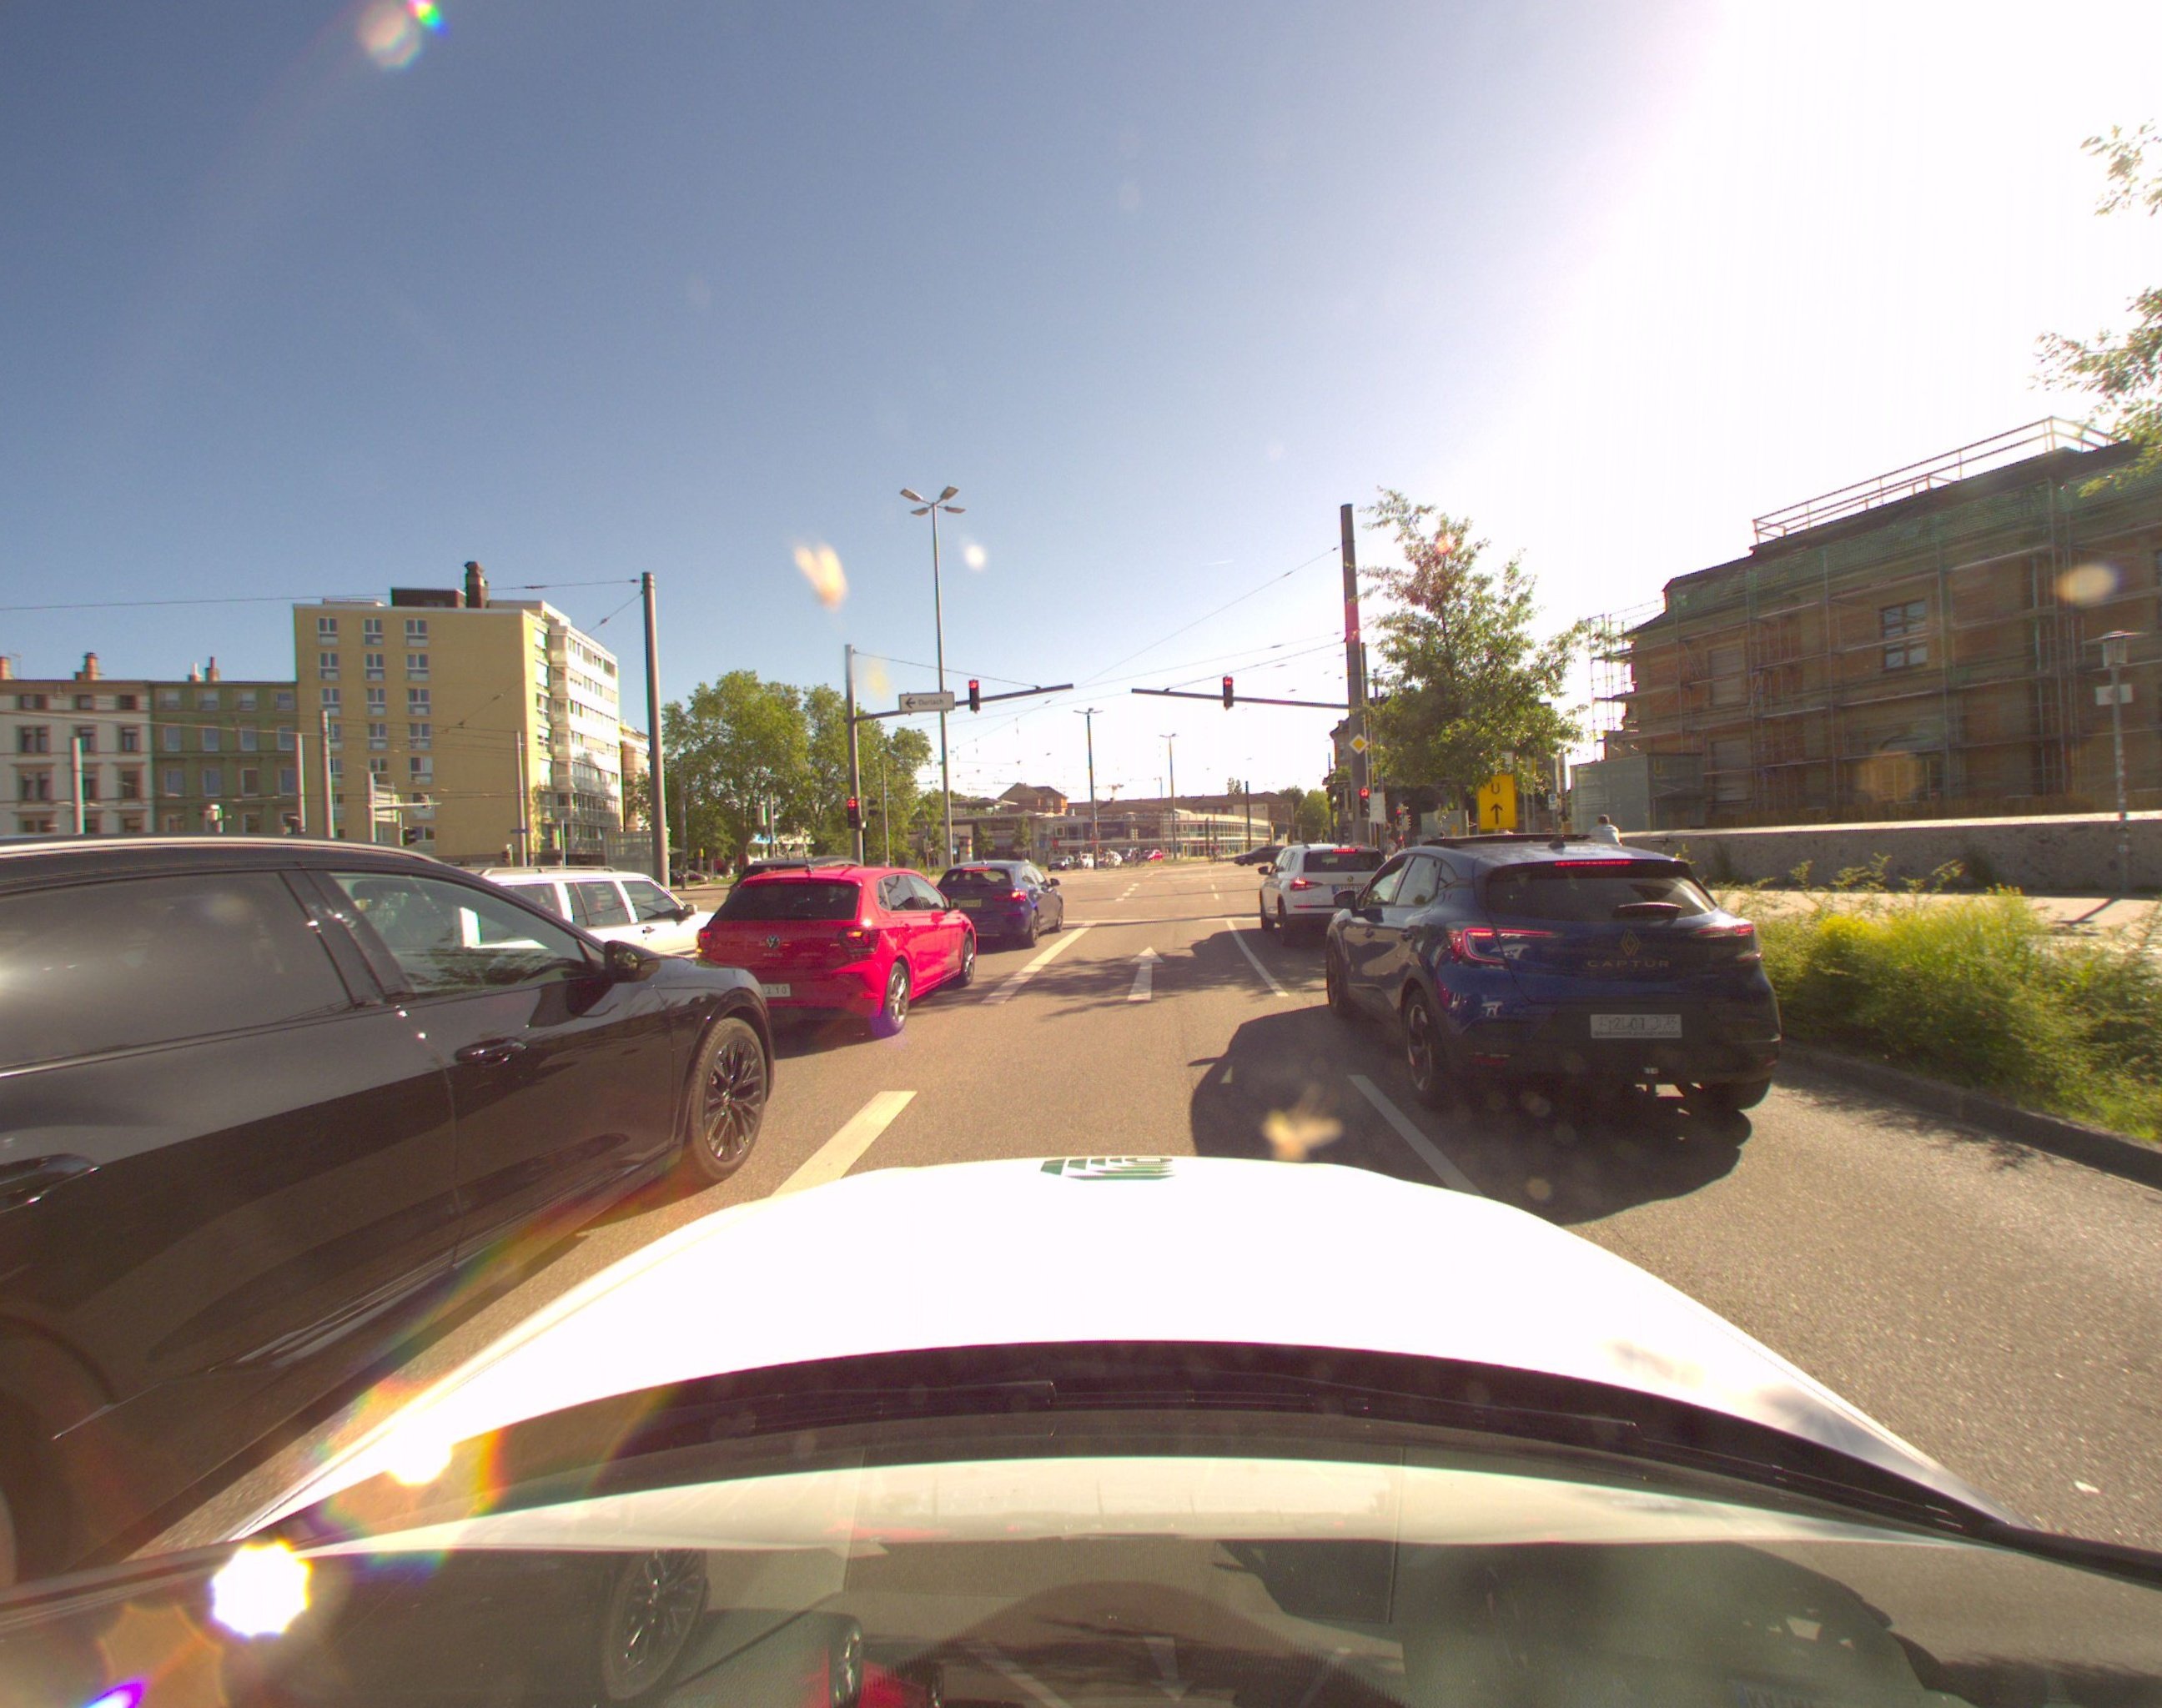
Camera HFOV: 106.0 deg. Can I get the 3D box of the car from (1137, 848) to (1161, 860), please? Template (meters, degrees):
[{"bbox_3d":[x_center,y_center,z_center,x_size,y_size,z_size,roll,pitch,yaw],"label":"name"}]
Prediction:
[{"bbox_3d":[8.449,-0.031,101.239,1.709,1.442,4.208,0,0,24],"label":"car"}]

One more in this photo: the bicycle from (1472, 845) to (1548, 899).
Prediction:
[{"bbox_3d":[9.855,0.386,18.772,0.743,1.165,1.870,-3,0,1],"label":"bicycle"}]

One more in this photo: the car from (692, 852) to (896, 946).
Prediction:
[{"bbox_3d":[-4.909,0.682,14.556,1.714,1.442,3.921,0,0,10],"label":"car"}]

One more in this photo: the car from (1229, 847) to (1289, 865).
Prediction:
[{"bbox_3d":[14.020,0.144,64.094,4.366,1.442,1.722,0,0,-15],"label":"car"}]

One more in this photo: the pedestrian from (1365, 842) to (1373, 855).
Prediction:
[{"bbox_3d":[32.328,-0.652,91.483,0.596,1.409,0.800,-2,2,0],"label":"pedestrian"}]

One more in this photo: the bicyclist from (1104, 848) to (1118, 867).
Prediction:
[{"bbox_3d":[2.646,0.288,72.154,0.986,1.604,0.756,-2,0,-11],"label":"bicyclist"}]

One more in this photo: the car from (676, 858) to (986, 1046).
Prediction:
[{"bbox_3d":[-2.214,0.781,8.311,1.663,1.442,3.728,0,0,6],"label":"car"}]

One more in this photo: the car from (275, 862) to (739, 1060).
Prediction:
[{"bbox_3d":[-5.229,0.848,8.163,1.717,1.442,3.804,-2,0,5],"label":"car"}]

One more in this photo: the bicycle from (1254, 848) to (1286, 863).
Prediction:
[{"bbox_3d":[16.897,0.096,72.788,2.655,1.188,0.941,-2,2,-20],"label":"bicycle"}]

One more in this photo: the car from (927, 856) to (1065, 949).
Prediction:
[{"bbox_3d":[-1.386,0.768,14.779,1.716,1.442,3.805,0,0,6],"label":"car"}]

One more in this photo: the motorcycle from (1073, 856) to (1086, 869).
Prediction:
[{"bbox_3d":[-0.169,0.786,75.914,0.557,1.094,1.845,-2,0,20],"label":"motorcycle"}]

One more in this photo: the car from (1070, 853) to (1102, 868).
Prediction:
[{"bbox_3d":[0.518,0.648,82.830,1.709,1.442,4.208,-2,0,24],"label":"car"}]

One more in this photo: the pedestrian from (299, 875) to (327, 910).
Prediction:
[{"bbox_3d":[-32.643,1.628,34.614,0.593,1.408,0.567,-2,2,-11],"label":"pedestrian"}]

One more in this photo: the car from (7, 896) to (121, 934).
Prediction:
[{"bbox_3d":[-63.355,3.768,50.829,3.988,2.013,1.993,-2,2,-11],"label":"car"}]

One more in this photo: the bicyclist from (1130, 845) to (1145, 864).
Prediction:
[{"bbox_3d":[5.100,0.033,73.599,1.063,1.584,0.944,-2,2,-12],"label":"bicyclist"}]

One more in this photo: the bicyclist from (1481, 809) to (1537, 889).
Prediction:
[{"bbox_3d":[9.833,-0.123,18.755,0.717,1.762,0.978,-2,0,1],"label":"bicyclist"}]

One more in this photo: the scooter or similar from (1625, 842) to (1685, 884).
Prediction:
[{"bbox_3d":[14.775,0.210,20.994,0.468,1.012,1.243,-2,2,-16],"label":"scooter or similar"}]

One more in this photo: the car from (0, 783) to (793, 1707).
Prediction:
[{"bbox_3d":[-2.666,0.715,2.329,1.976,1.624,4.380,-1,0,2],"label":"car"}]

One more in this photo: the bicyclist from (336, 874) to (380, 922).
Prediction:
[{"bbox_3d":[-22.613,1.381,25.477,0.770,1.444,0.644,-2,0,4],"label":"bicyclist"}]

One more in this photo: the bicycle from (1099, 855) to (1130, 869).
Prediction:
[{"bbox_3d":[2.847,0.658,69.635,2.634,1.095,0.969,-2,0,0],"label":"bicycle"}]

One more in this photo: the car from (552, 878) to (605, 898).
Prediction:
[{"bbox_3d":[-42.328,2.848,68.680,3.437,1.510,1.685,-2,0,-14],"label":"car"}]

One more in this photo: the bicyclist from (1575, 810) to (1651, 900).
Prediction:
[{"bbox_3d":[10.030,0.018,15.391,0.718,1.617,0.976,-3,0,-3],"label":"bicyclist"}]

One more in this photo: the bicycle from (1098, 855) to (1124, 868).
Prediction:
[{"bbox_3d":[2.667,0.640,72.160,2.179,1.095,0.756,-2,0,-11],"label":"bicycle"}]

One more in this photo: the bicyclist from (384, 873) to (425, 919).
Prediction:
[{"bbox_3d":[-22.186,1.363,26.715,0.771,1.444,0.644,-2,0,3],"label":"bicyclist"}]

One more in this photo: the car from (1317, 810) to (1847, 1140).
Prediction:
[{"bbox_3d":[3.031,0.615,5.981,1.867,1.617,3.804,-1,0,6],"label":"car"}]

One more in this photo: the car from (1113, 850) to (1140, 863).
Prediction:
[{"bbox_3d":[5.321,0.288,94.521,1.709,1.442,4.208,0,0,24],"label":"car"}]

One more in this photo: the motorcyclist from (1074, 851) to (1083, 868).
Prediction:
[{"bbox_3d":[-0.190,0.515,75.874,0.545,1.621,0.748,-2,0,20],"label":"motorcyclist"}]

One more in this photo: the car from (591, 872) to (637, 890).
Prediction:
[{"bbox_3d":[-42.077,2.412,73.437,3.268,1.316,1.518,-2,2,-15],"label":"car"}]

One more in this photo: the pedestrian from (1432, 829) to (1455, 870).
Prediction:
[{"bbox_3d":[15.881,-0.187,35.689,0.588,1.723,0.876,-4,-3,44],"label":"pedestrian"}]

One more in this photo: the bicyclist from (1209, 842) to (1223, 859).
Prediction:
[{"bbox_3d":[12.925,-0.350,78.076,1.063,1.584,0.944,-2,2,-12],"label":"bicyclist"}]

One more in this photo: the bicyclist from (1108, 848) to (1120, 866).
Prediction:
[{"bbox_3d":[2.787,0.265,69.640,0.959,1.449,0.969,-2,0,0],"label":"bicyclist"}]

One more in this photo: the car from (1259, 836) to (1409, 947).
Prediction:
[{"bbox_3d":[4.120,0.563,13.841,1.866,1.617,3.633,-1,0,8],"label":"car"}]

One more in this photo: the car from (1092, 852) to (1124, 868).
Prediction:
[{"bbox_3d":[2.697,0.559,80.442,1.709,1.442,4.208,-2,0,24],"label":"car"}]

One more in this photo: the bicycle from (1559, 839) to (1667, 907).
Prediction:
[{"bbox_3d":[10.039,0.336,15.467,0.715,1.165,1.868,-3,0,-4],"label":"bicycle"}]

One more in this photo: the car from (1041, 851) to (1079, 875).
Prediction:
[{"bbox_3d":[-1.971,0.796,76.754,1.975,2.013,4.024,-1,2,24],"label":"car"}]

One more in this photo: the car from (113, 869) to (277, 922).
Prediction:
[{"bbox_3d":[-45.638,2.074,42.082,5.491,2.411,1.992,-2,0,-12],"label":"car"}]

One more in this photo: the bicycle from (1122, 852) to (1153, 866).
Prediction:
[{"bbox_3d":[5.115,0.434,73.597,2.648,1.188,0.944,-2,2,-12],"label":"bicycle"}]

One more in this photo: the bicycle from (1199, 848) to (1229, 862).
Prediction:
[{"bbox_3d":[12.765,0.121,78.065,2.648,1.188,0.944,-2,2,-12],"label":"bicycle"}]
